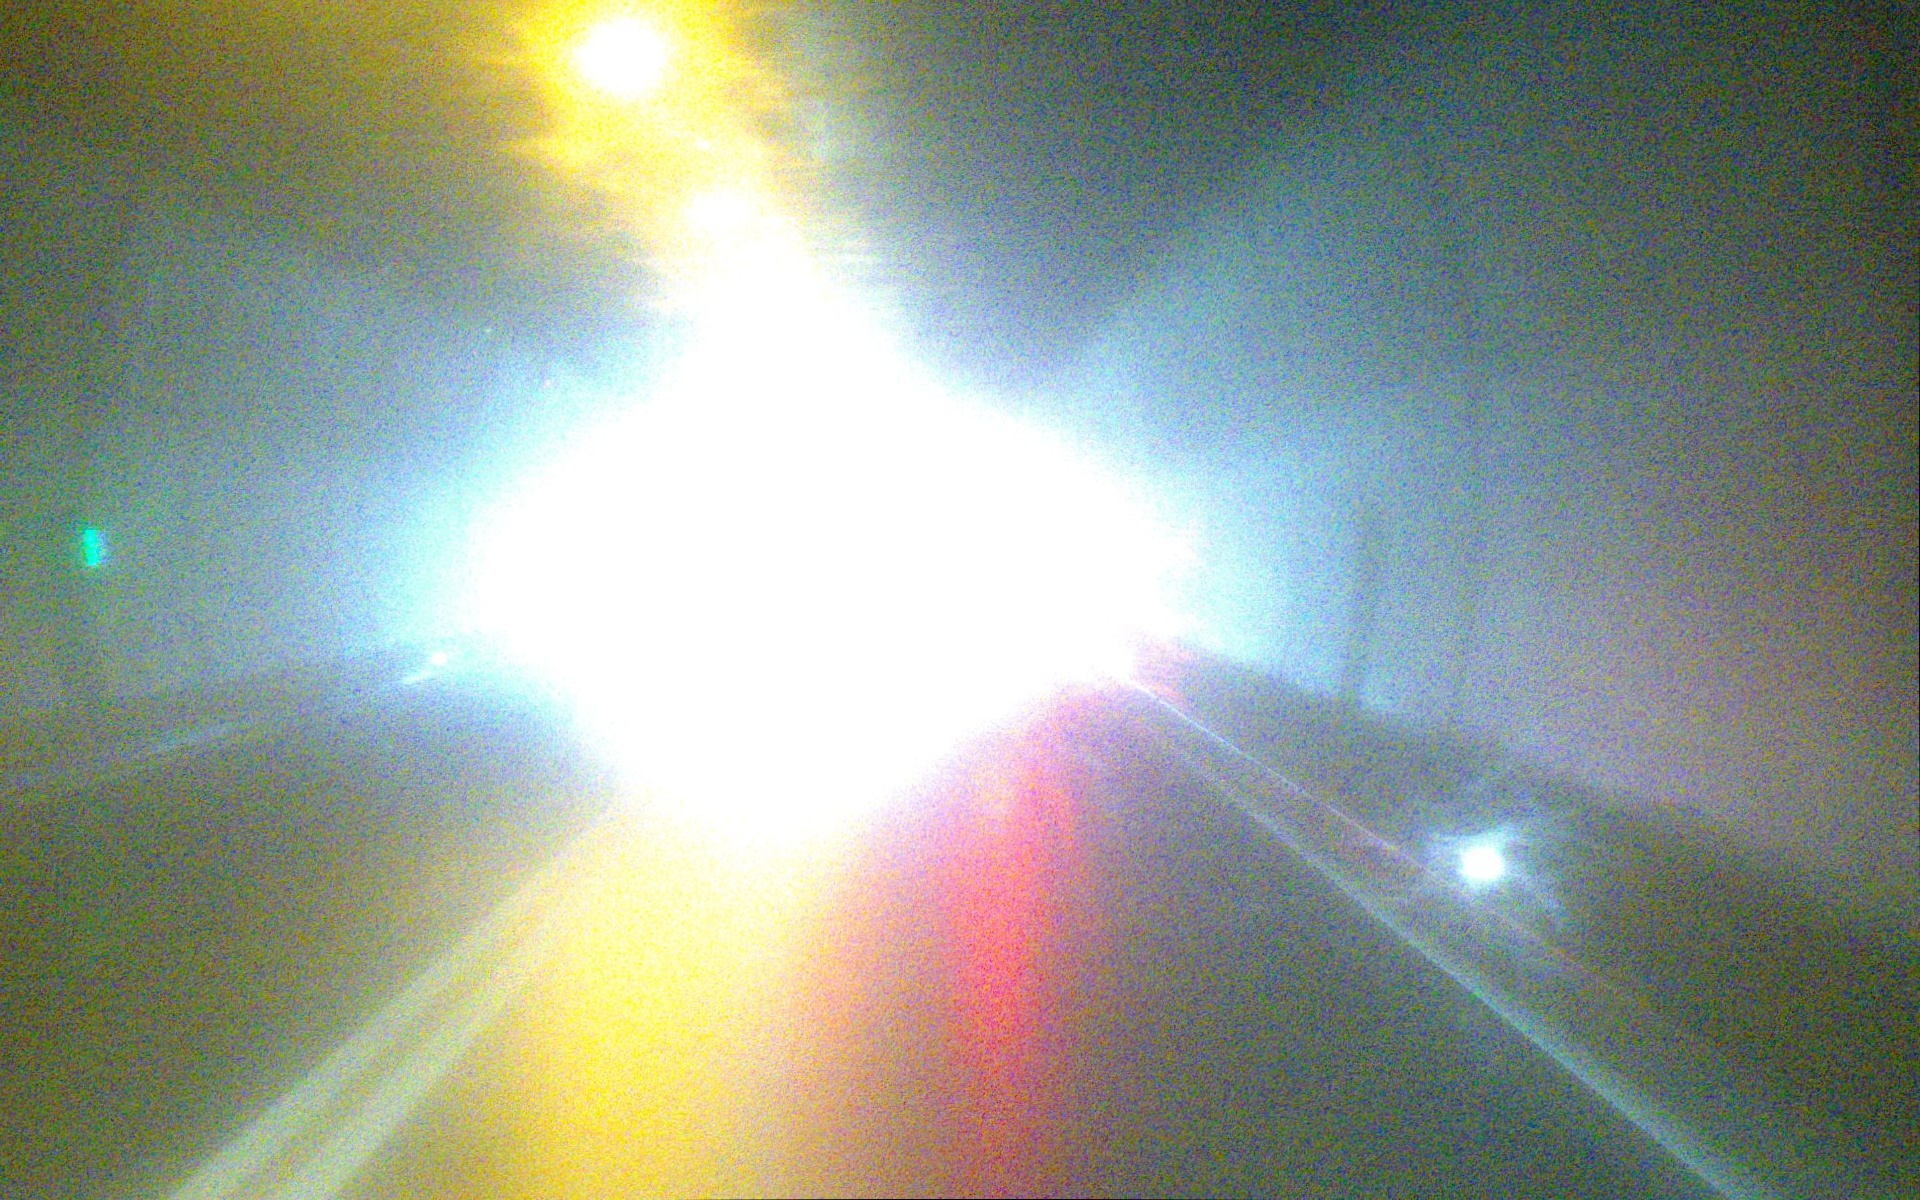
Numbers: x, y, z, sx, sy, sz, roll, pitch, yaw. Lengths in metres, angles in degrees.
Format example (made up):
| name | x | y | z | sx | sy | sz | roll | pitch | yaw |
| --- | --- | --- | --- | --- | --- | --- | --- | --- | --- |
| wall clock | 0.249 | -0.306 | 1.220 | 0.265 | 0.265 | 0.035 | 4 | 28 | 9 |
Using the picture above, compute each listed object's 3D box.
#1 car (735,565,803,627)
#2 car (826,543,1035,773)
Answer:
| name | x | y | z | sx | sy | sz | roll | pitch | yaw |
| --- | --- | --- | --- | --- | --- | --- | --- | --- | --- |
| car | -5.288 | -0.121 | 95.428 | 1.635 | 1.597 | 4.146 | 0 | 2 | 0 |
| car | -0.227 | 0.424 | 29.026 | 1.635 | 1.752 | 4.146 | 0 | 2 | 0 |
